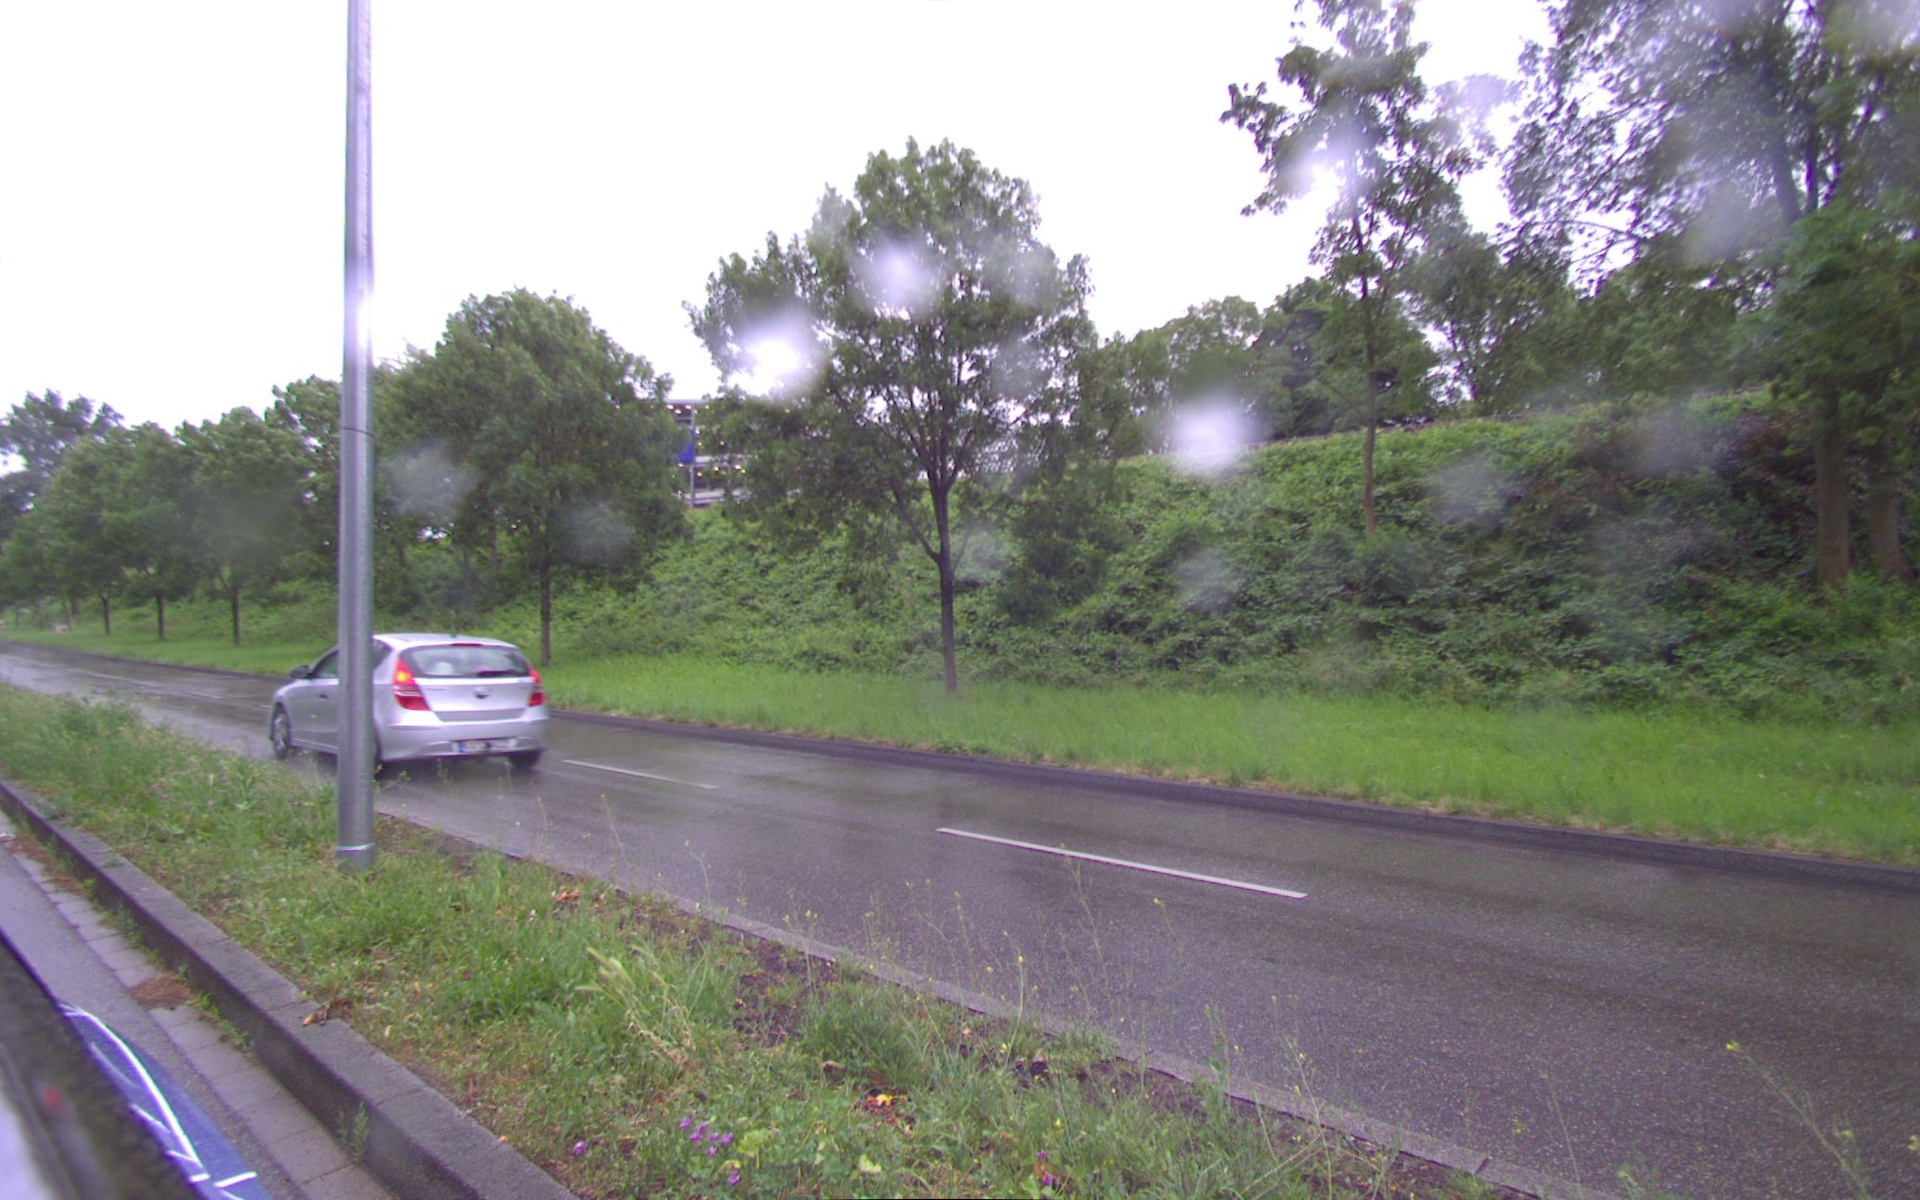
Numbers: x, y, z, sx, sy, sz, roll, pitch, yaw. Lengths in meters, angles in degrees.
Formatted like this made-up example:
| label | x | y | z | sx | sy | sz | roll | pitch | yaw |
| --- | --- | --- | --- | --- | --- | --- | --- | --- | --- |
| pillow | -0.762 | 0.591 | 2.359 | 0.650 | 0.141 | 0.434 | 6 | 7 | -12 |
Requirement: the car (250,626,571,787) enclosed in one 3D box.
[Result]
| label | x | y | z | sx | sy | sz | roll | pitch | yaw |
| --- | --- | --- | --- | --- | --- | --- | --- | --- | --- |
| car | -6.240 | 1.067 | 11.321 | 3.997 | 1.474 | 1.797 | -1 | -4 | 40 |
